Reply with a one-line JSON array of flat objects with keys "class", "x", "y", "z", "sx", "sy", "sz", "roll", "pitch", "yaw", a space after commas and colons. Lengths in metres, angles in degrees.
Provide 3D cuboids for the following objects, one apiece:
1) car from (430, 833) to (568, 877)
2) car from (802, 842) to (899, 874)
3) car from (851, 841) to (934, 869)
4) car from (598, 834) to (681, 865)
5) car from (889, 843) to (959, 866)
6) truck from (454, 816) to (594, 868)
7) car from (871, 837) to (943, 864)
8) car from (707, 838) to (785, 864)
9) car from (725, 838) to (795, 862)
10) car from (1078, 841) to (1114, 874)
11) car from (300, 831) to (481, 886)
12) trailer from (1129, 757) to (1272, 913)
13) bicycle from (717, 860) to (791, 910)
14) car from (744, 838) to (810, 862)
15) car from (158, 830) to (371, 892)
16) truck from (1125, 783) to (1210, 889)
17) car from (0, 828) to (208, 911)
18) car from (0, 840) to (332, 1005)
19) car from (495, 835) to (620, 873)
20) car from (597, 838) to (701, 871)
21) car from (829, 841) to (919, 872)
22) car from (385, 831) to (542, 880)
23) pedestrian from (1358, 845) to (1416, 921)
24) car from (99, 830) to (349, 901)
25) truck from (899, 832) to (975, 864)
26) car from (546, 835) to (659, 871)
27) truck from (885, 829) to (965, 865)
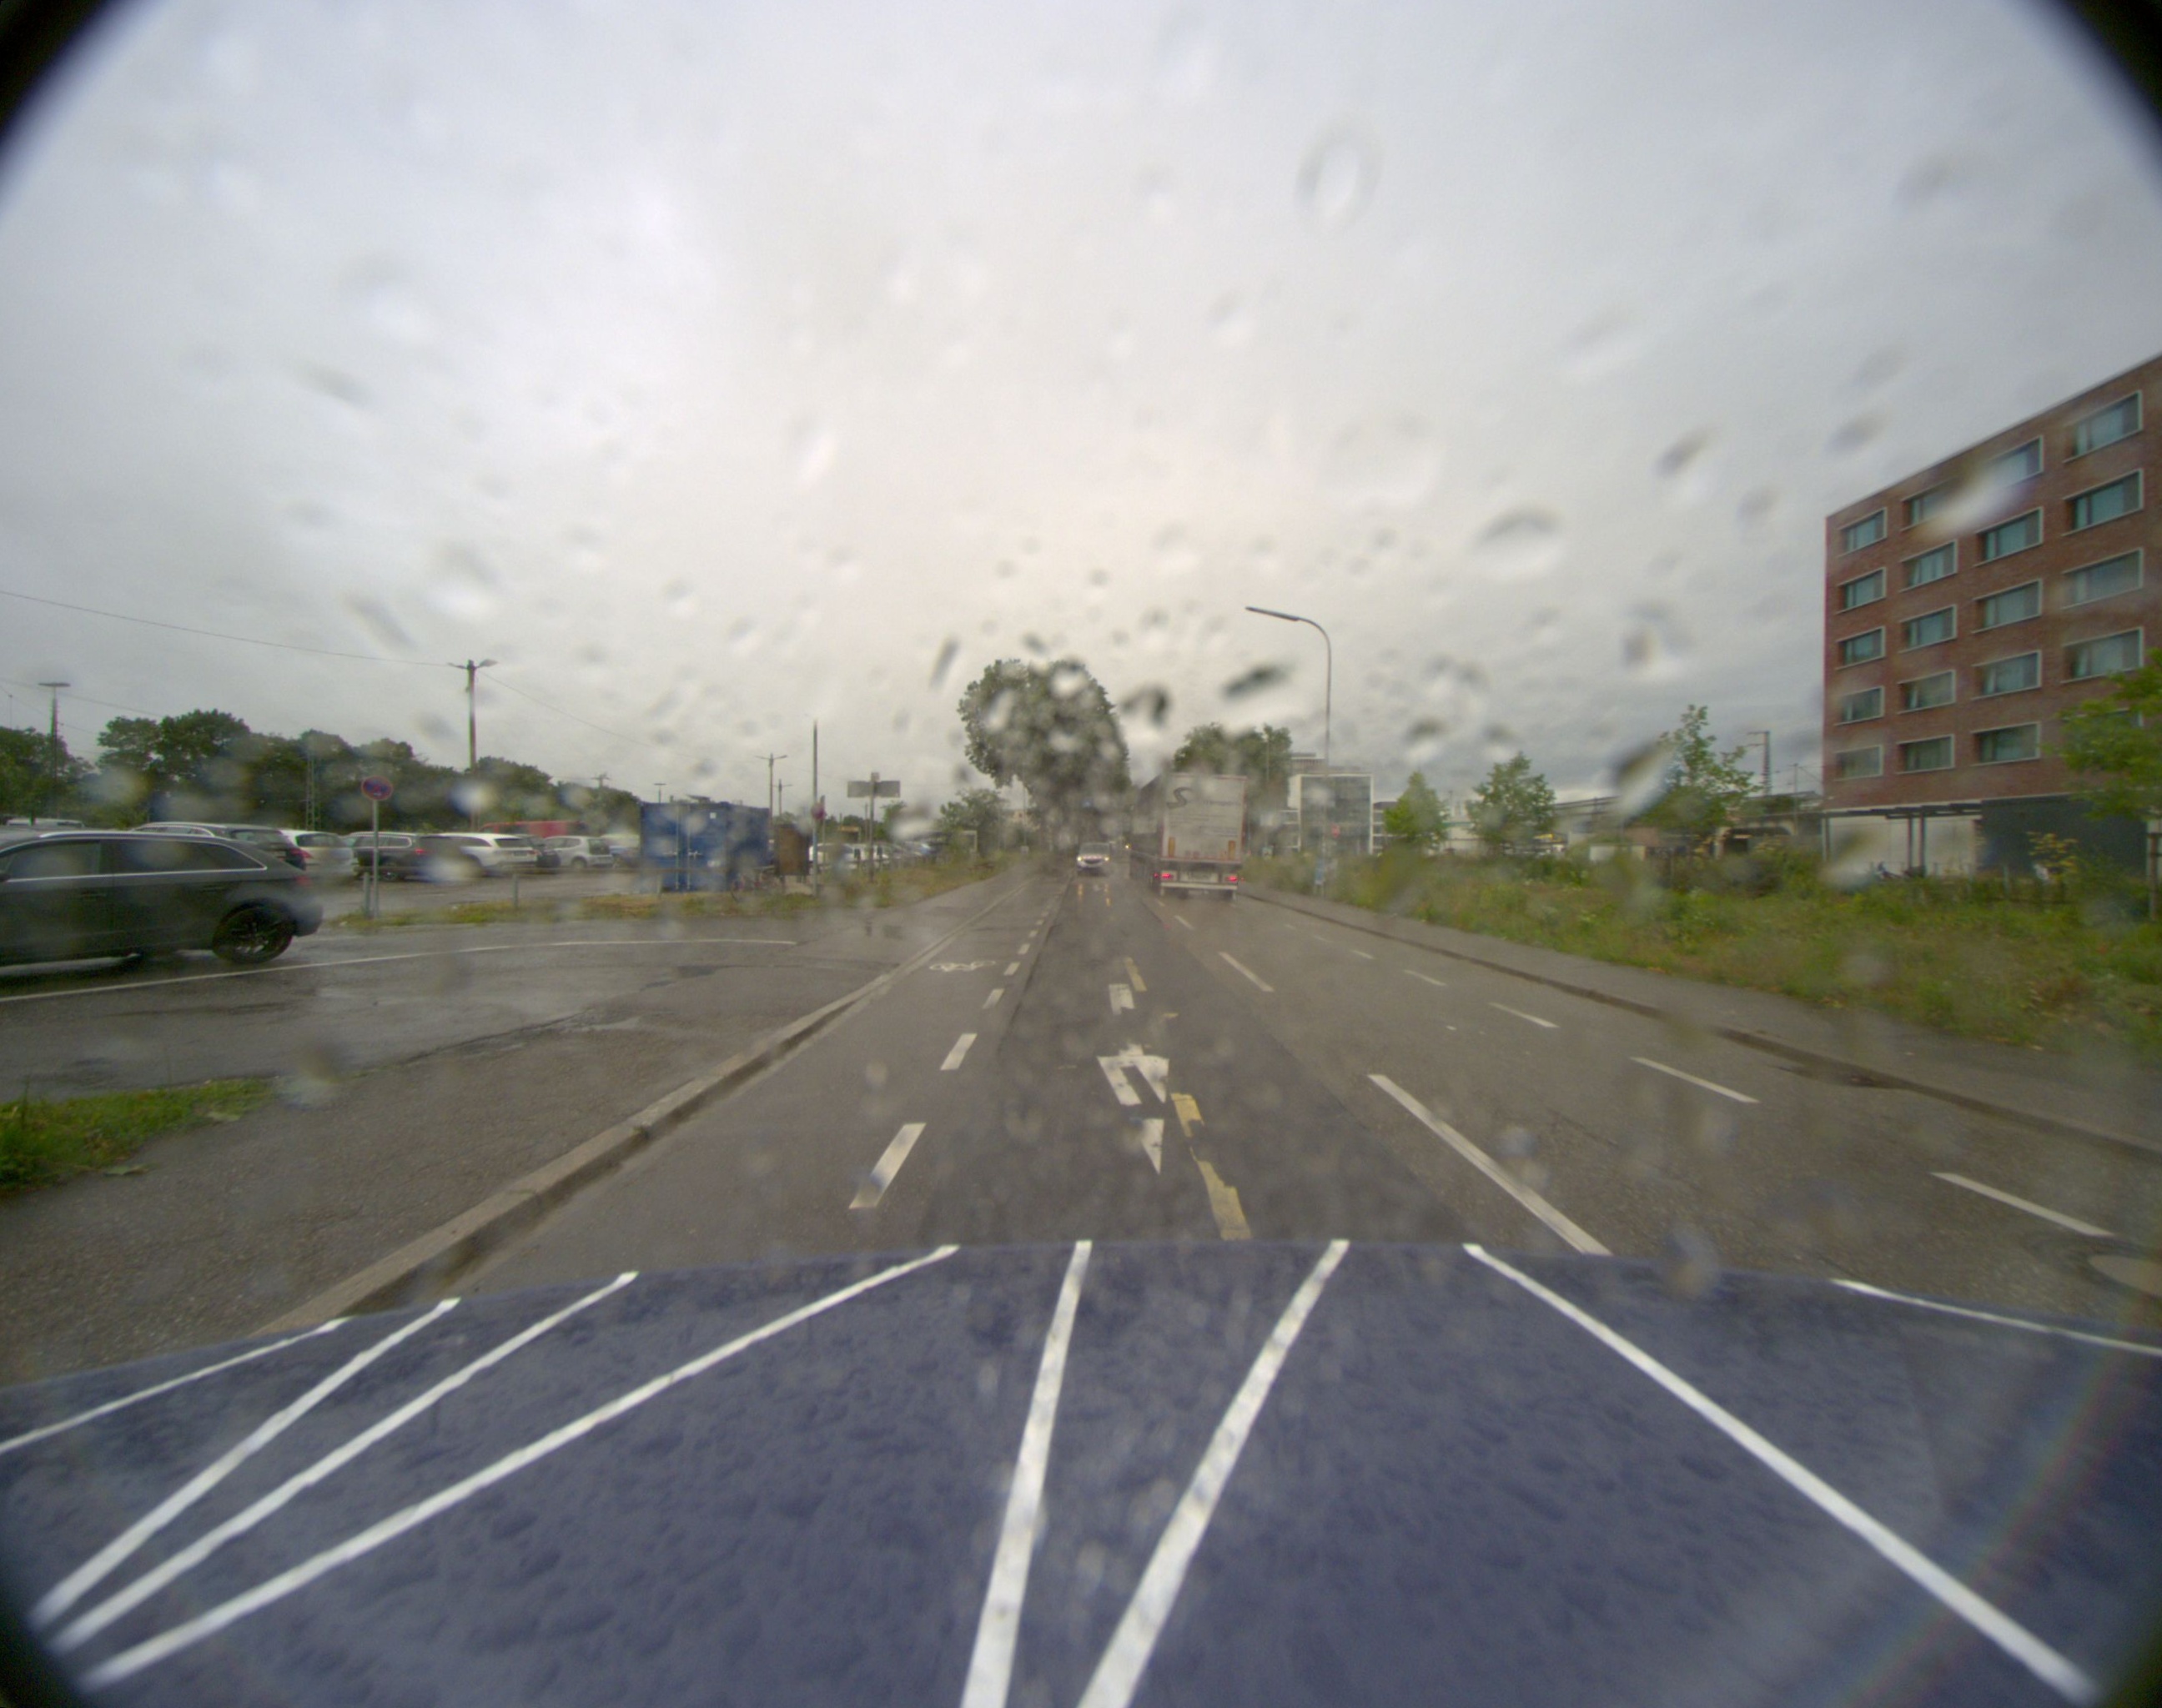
[{"class": "car", "x": -22.159, "y": 0.003, "z": 29.008, "sx": 3.961, "sy": 1.481, "sz": 1.778, "roll": 2, "pitch": 2, "yaw": 3}, {"class": "car", "x": -10.409, "y": 0.151, "z": 34.522, "sx": 3.781, "sy": 1.385, "sz": 1.905, "roll": 0, "pitch": 2, "yaw": -2}, {"class": "car", "x": -9.898, "y": 0.020, "z": 40.114, "sx": 3.906, "sy": 1.415, "sz": 1.778, "roll": 0, "pitch": 2, "yaw": -2}, {"class": "car", "x": -26.700, "y": -0.281, "z": 46.045, "sx": 3.995, "sy": 1.790, "sz": 1.797, "roll": 0, "pitch": 1, "yaw": 5}, {"class": "car", "x": -10.062, "y": 0.009, "z": 48.902, "sx": 4.170, "sy": 1.412, "sz": 1.862, "roll": 0, "pitch": 2, "yaw": -2}, {"class": "truck", "x": -27.186, "y": -0.594, "z": 37.210, "sx": 5.301, "sy": 2.354, "sz": 2.153, "roll": 1, "pitch": 1, "yaw": 0}, {"class": "car", "x": -10.458, "y": -0.232, "z": 45.772, "sx": 3.906, "sy": 1.586, "sz": 1.896, "roll": 0, "pitch": 2, "yaw": -2}, {"class": "car", "x": -21.177, "y": -0.211, "z": 48.139, "sx": 4.075, "sy": 1.482, "sz": 1.926, "roll": 2, "pitch": 2, "yaw": 3}, {"class": "car", "x": -21.523, "y": -0.276, "z": 50.974, "sx": 3.961, "sy": 1.472, "sz": 1.707, "roll": 2, "pitch": 2, "yaw": 3}, {"class": "car", "x": 0.865, "y": 0.161, "z": 42.227, "sx": 1.838, "sy": 1.714, "sz": 4.173, "roll": 1, "pitch": 1, "yaw": 3}, {"class": "car", "x": -20.878, "y": 0.105, "z": 23.088, "sx": 3.961, "sy": 1.481, "sz": 1.778, "roll": 2, "pitch": 2, "yaw": 3}, {"class": "trailer", "x": 4.013, "y": -0.622, "z": 29.609, "sx": 3.302, "sy": 4.627, "sz": 13.730, "roll": 1, "pitch": 1, "yaw": 0}, {"class": "bicycle", "x": -7.596, "y": 0.689, "z": 17.724, "sx": 0.507, "sy": 1.078, "sz": 1.705, "roll": 1, "pitch": 1, "yaw": 22}, {"class": "car", "x": -21.579, "y": -0.286, "z": 53.981, "sx": 3.961, "sy": 1.528, "sz": 1.807, "roll": 2, "pitch": 2, "yaw": 3}, {"class": "car", "x": -21.966, "y": 0.152, "z": 20.545, "sx": 3.961, "sy": 1.481, "sz": 1.778, "roll": 2, "pitch": 2, "yaw": 3}, {"class": "truck", "x": 3.968, "y": -0.807, "z": 36.459, "sx": 3.302, "sy": 4.627, "sz": 6.032, "roll": 1, "pitch": 1, "yaw": 0}, {"class": "car", "x": -21.013, "y": 0.262, "z": 15.681, "sx": 3.961, "sy": 1.481, "sz": 1.870, "roll": 2, "pitch": 2, "yaw": 3}, {"class": "car", "x": -10.322, "y": 0.593, "z": 7.194, "sx": 1.897, "sy": 1.448, "sz": 4.231, "roll": 1, "pitch": 0, "yaw": 13}, {"class": "car", "x": -21.834, "y": -0.019, "z": 31.794, "sx": 3.961, "sy": 1.419, "sz": 1.887, "roll": 2, "pitch": 2, "yaw": 3}, {"class": "car", "x": -20.937, "y": -0.013, "z": 36.939, "sx": 3.961, "sy": 1.419, "sz": 1.887, "roll": 2, "pitch": 2, "yaw": 3}, {"class": "car", "x": -10.058, "y": 0.093, "z": 37.135, "sx": 3.906, "sy": 1.415, "sz": 1.905, "roll": 0, "pitch": 2, "yaw": -2}, {"class": "car", "x": -20.985, "y": 0.017, "z": 25.928, "sx": 3.961, "sy": 1.481, "sz": 1.778, "roll": 2, "pitch": 2, "yaw": 3}, {"class": "pedestrian", "x": 7.045, "y": 0.643, "z": 17.539, "sx": 0.911, "sy": 1.708, "sz": 1.026, "roll": 0, "pitch": 1, "yaw": 1}, {"class": "car", "x": -20.340, "y": 0.234, "z": 18.161, "sx": 3.961, "sy": 1.481, "sz": 1.870, "roll": 2, "pitch": 2, "yaw": 3}, {"class": "truck", "x": -10.822, "y": -0.464, "z": 57.441, "sx": 5.342, "sy": 2.310, "sz": 2.074, "roll": 0, "pitch": 1, "yaw": 1}, {"class": "car", "x": -21.615, "y": -0.068, "z": 34.439, "sx": 3.961, "sy": 1.419, "sz": 1.887, "roll": 2, "pitch": 2, "yaw": 3}, {"class": "truck", "x": -10.566, "y": -0.479, "z": 51.770, "sx": 5.046, "sy": 2.389, "sz": 2.109, "roll": 0, "pitch": 1, "yaw": -2}]
